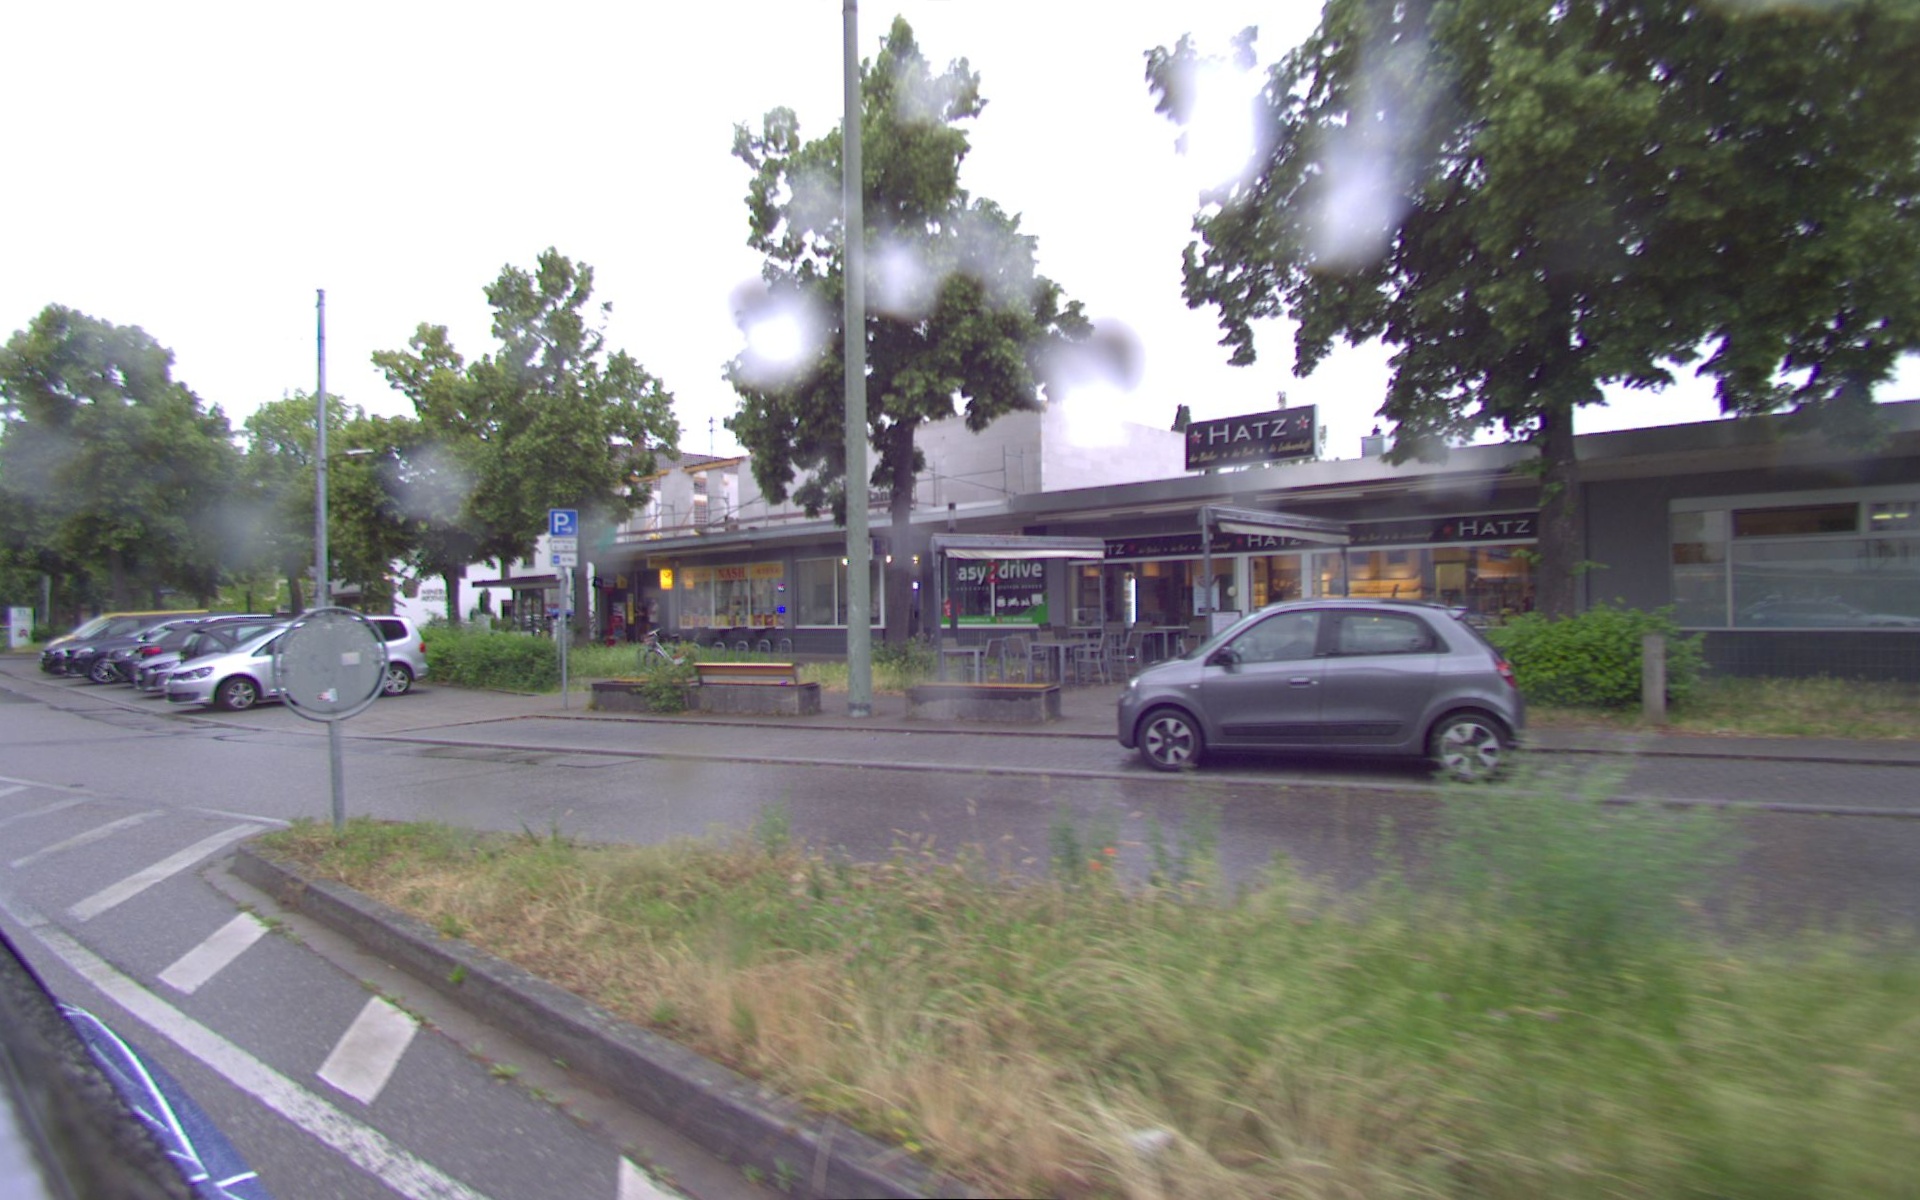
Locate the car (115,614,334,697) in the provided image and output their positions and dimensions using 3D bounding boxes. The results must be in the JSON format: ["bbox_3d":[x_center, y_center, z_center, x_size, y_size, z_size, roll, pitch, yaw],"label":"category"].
[{"bbox_3d":[-18.174,1.308,25.154,1.897,1.722,4.037,-2,0,40],"label":"car"}]

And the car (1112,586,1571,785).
[{"bbox_3d":[3.372,0.712,9.300,3.600,1.514,1.540,-2,1,24],"label":"car"}]

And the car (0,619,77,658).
[{"bbox_3d":[-51.873,2.124,55.836,1.897,1.957,4.489,-2,0,40],"label":"car"}]

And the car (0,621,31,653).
[{"bbox_3d":[-62.438,2.441,64.497,1.897,1.957,4.489,-2,0,40],"label":"car"}]

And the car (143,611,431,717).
[{"bbox_3d":[-12.990,1.148,19.746,1.998,1.686,4.280,-2,0,40],"label":"car"}]

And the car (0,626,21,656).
[{"bbox_3d":[-65.435,2.830,67.063,1.897,1.957,4.488,-2,0,40],"label":"car"}]

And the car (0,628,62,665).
[{"bbox_3d":[-54.337,2.677,57.635,1.897,1.957,4.489,-2,0,40],"label":"car"}]

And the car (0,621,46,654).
[{"bbox_3d":[-59.511,2.352,62.343,1.897,1.957,4.489,-2,0,40],"label":"car"}]

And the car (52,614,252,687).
[{"bbox_3d":[-22.385,1.339,28.157,1.897,1.722,4.037,-2,0,40],"label":"car"}]

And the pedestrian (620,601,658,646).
[{"bbox_3d":[-11.867,0.857,37.434,1.063,1.596,0.950,0,0,-38],"label":"pedestrian"}]

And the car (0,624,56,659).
[{"bbox_3d":[-56.132,2.476,59.295,1.897,1.957,4.489,-2,0,40],"label":"car"}]

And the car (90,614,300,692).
[{"bbox_3d":[-19.881,1.317,26.436,1.897,1.722,4.037,-2,0,40],"label":"car"}]

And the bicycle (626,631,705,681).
[{"bbox_3d":[-6.636,1.257,22.808,1.740,1.080,0.589,-1,-2,24],"label":"bicycle"}]

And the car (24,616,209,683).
[{"bbox_3d":[-26.824,1.511,32.285,1.897,1.823,4.249,-2,0,40],"label":"car"}]

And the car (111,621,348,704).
[{"bbox_3d":[-16.715,1.362,23.309,1.998,1.583,4.037,-2,0,40],"label":"car"}]

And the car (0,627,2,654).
[{"bbox_3d":[-71.702,3.021,72.334,1.897,1.957,4.489,-2,0,40],"label":"car"}]

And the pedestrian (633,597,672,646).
[{"bbox_3d":[-11.060,0.770,36.432,1.063,1.727,0.950,0,0,-38],"label":"pedestrian"}]

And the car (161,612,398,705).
[{"bbox_3d":[-14.631,1.194,21.907,1.792,1.686,3.895,-2,0,40],"label":"car"}]

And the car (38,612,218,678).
[{"bbox_3d":[-28.550,1.483,34.839,1.897,1.957,4.489,-2,0,40],"label":"car"}]
